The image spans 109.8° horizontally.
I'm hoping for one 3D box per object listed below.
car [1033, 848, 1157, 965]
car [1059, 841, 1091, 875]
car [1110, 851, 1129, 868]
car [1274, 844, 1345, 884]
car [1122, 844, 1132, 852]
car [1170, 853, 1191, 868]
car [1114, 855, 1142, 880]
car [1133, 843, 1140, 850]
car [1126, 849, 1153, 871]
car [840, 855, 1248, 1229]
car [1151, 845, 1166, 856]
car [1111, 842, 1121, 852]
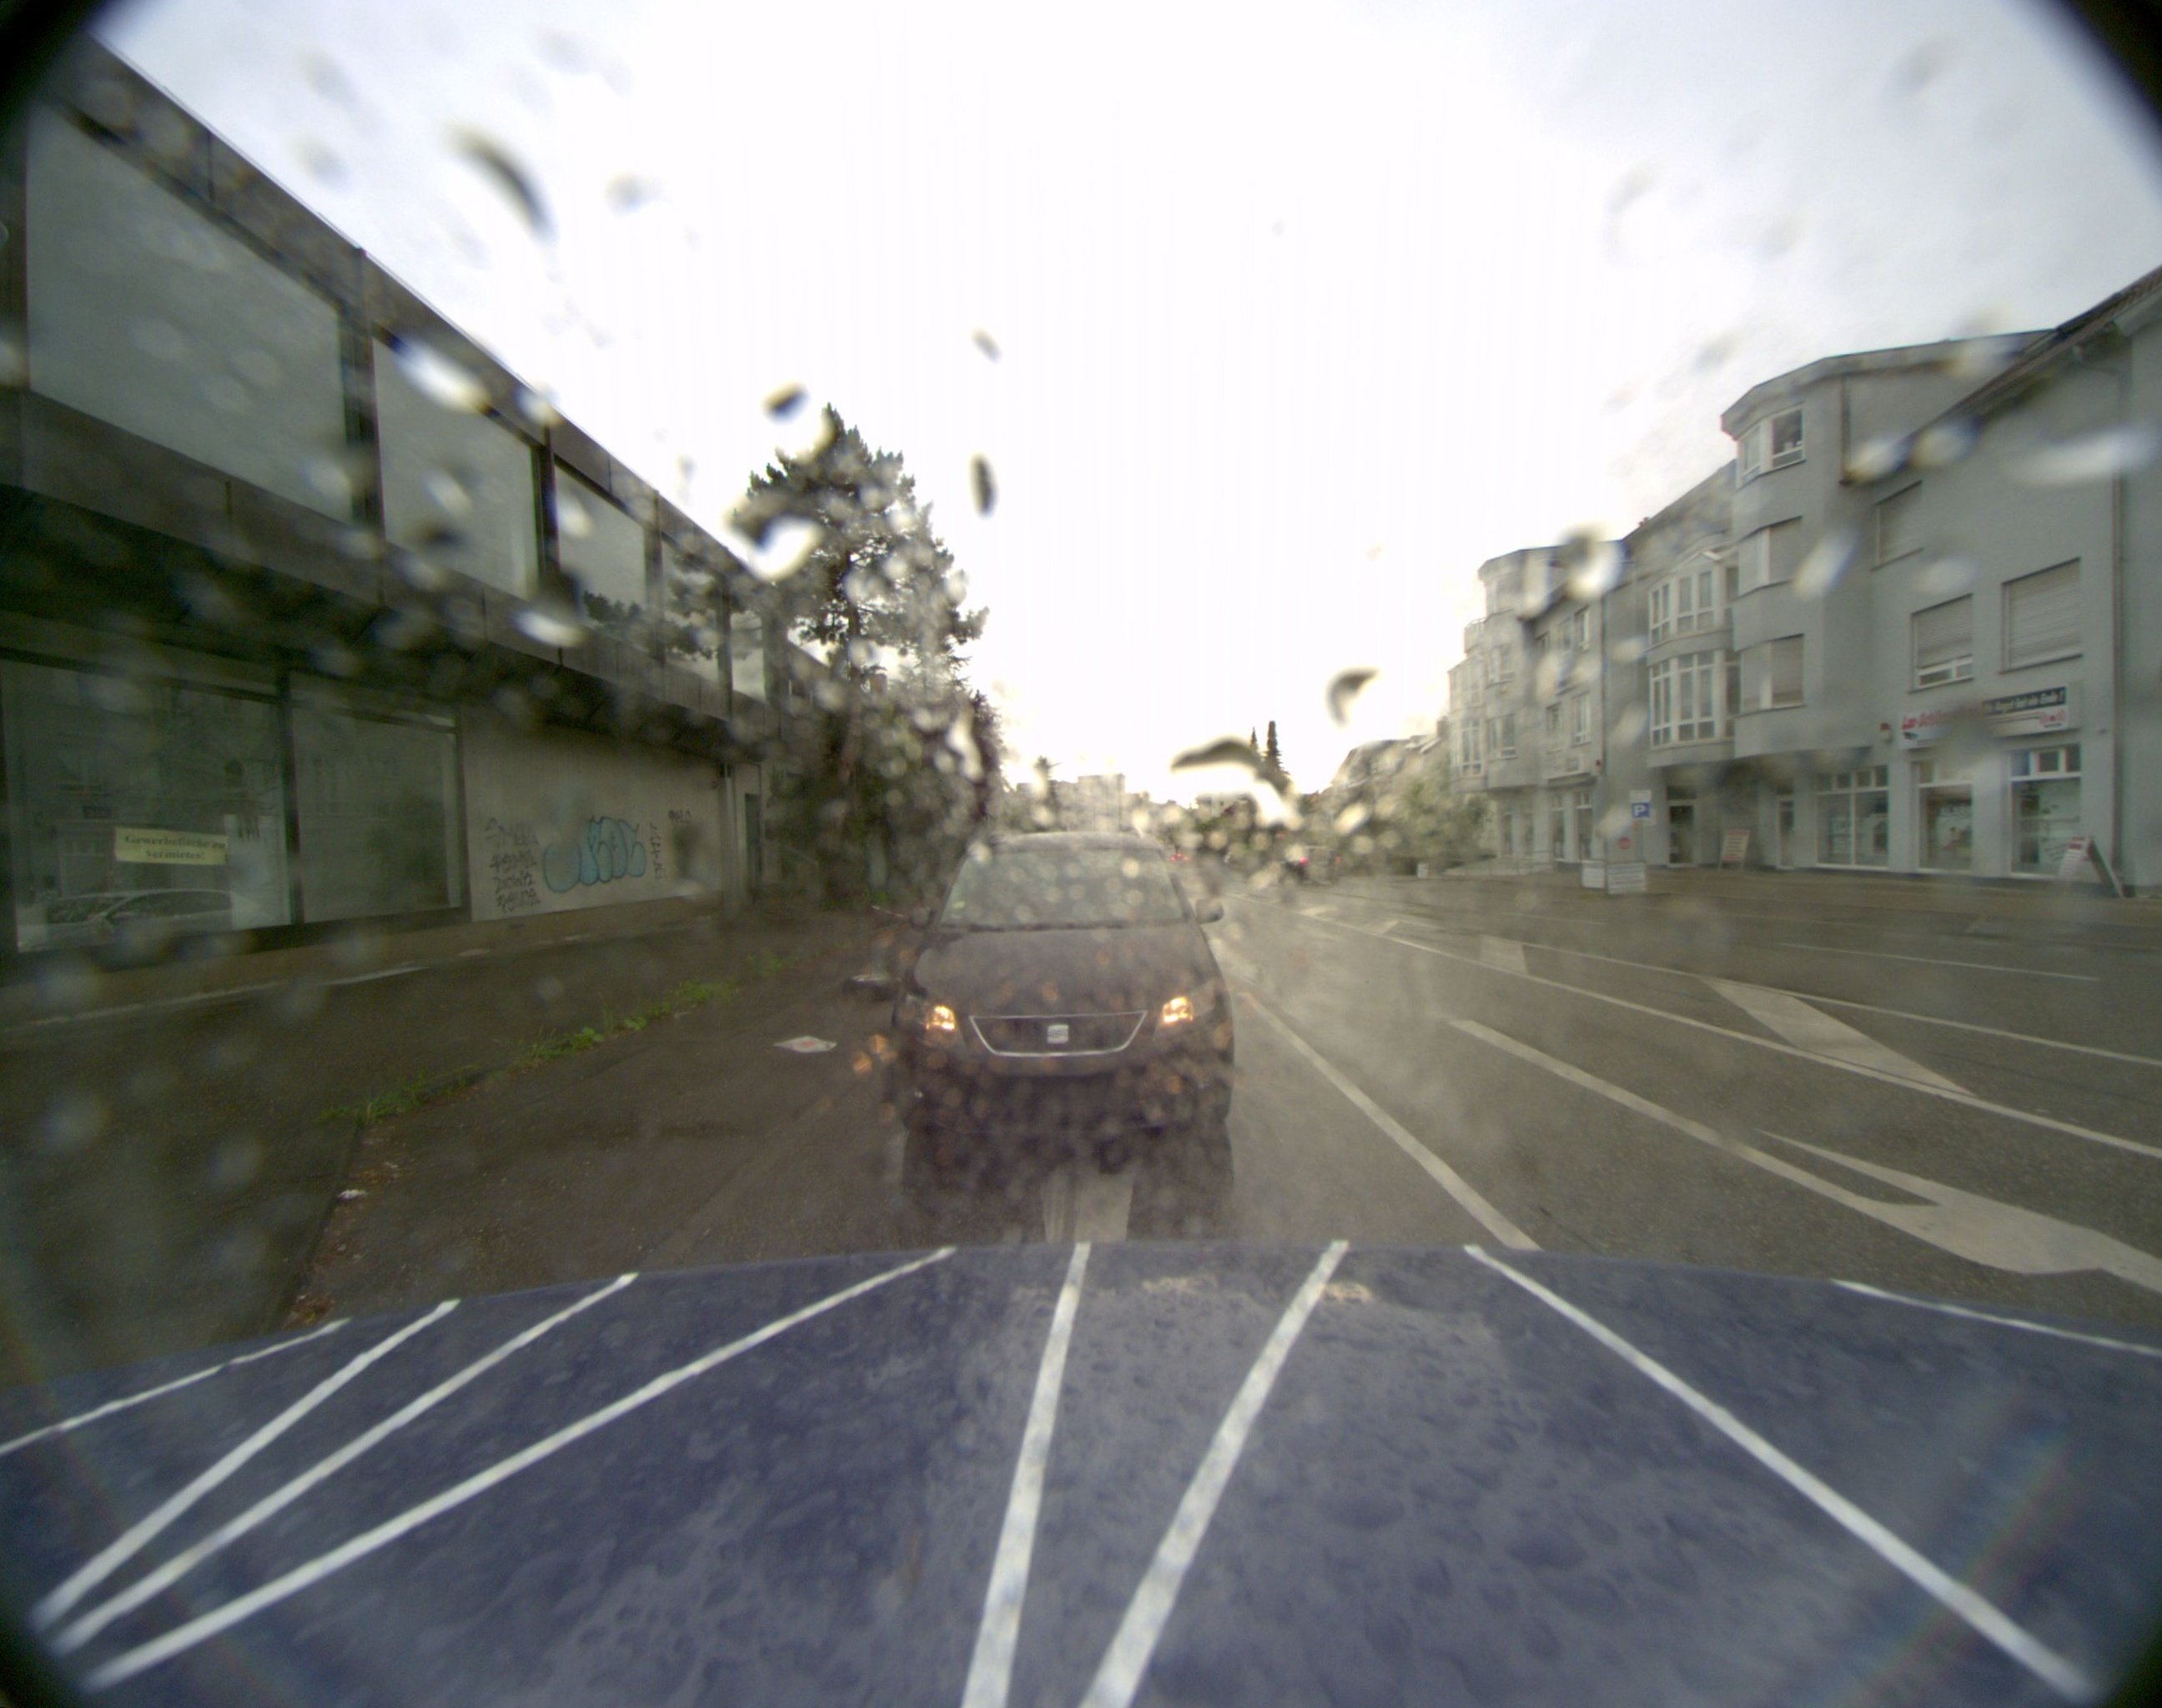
[{"bbox_3d":[0.233,0.775,13.415,1.803,1.675,3.999,-2,1,1],"label":"car"},{"bbox_3d":[-0.348,0.221,50.493,1.998,2.072,3.999,-2,1,1],"label":"car"},{"bbox_3d":[4.420,0.650,88.395,1.998,1.774,3.999,-2,1,1],"label":"car"},{"bbox_3d":[9.996,0.406,33.515,1.883,1.588,4.184,-1,0,0],"label":"car"},{"bbox_3d":[10.312,-1.319,172.120,1.998,1.808,3.999,-2,1,1],"label":"car"},{"bbox_3d":[11.031,0.738,84.790,1.971,1.503,4.000,-2,1,3],"label":"car"},{"bbox_3d":[3.211,0.887,52.583,1.663,1.584,3.592,-2,0,0],"label":"car"},{"bbox_3d":[14.526,-1.943,199.144,1.748,1.664,3.591,-2,1,1],"label":"car"},{"bbox_3d":[4.986,0.465,65.095,1.998,1.723,3.999,-2,1,1],"label":"car"},{"bbox_3d":[-0.127,0.833,5.665,1.754,1.534,4.675,-1,1,1],"label":"car"},{"bbox_3d":[12.347,-0.550,121.171,1.998,1.616,4.538,-2,1,1],"label":"car"},{"bbox_3d":[7.211,-1.478,156.502,1.998,2.002,3.999,-2,1,1],"label":"car"}]
